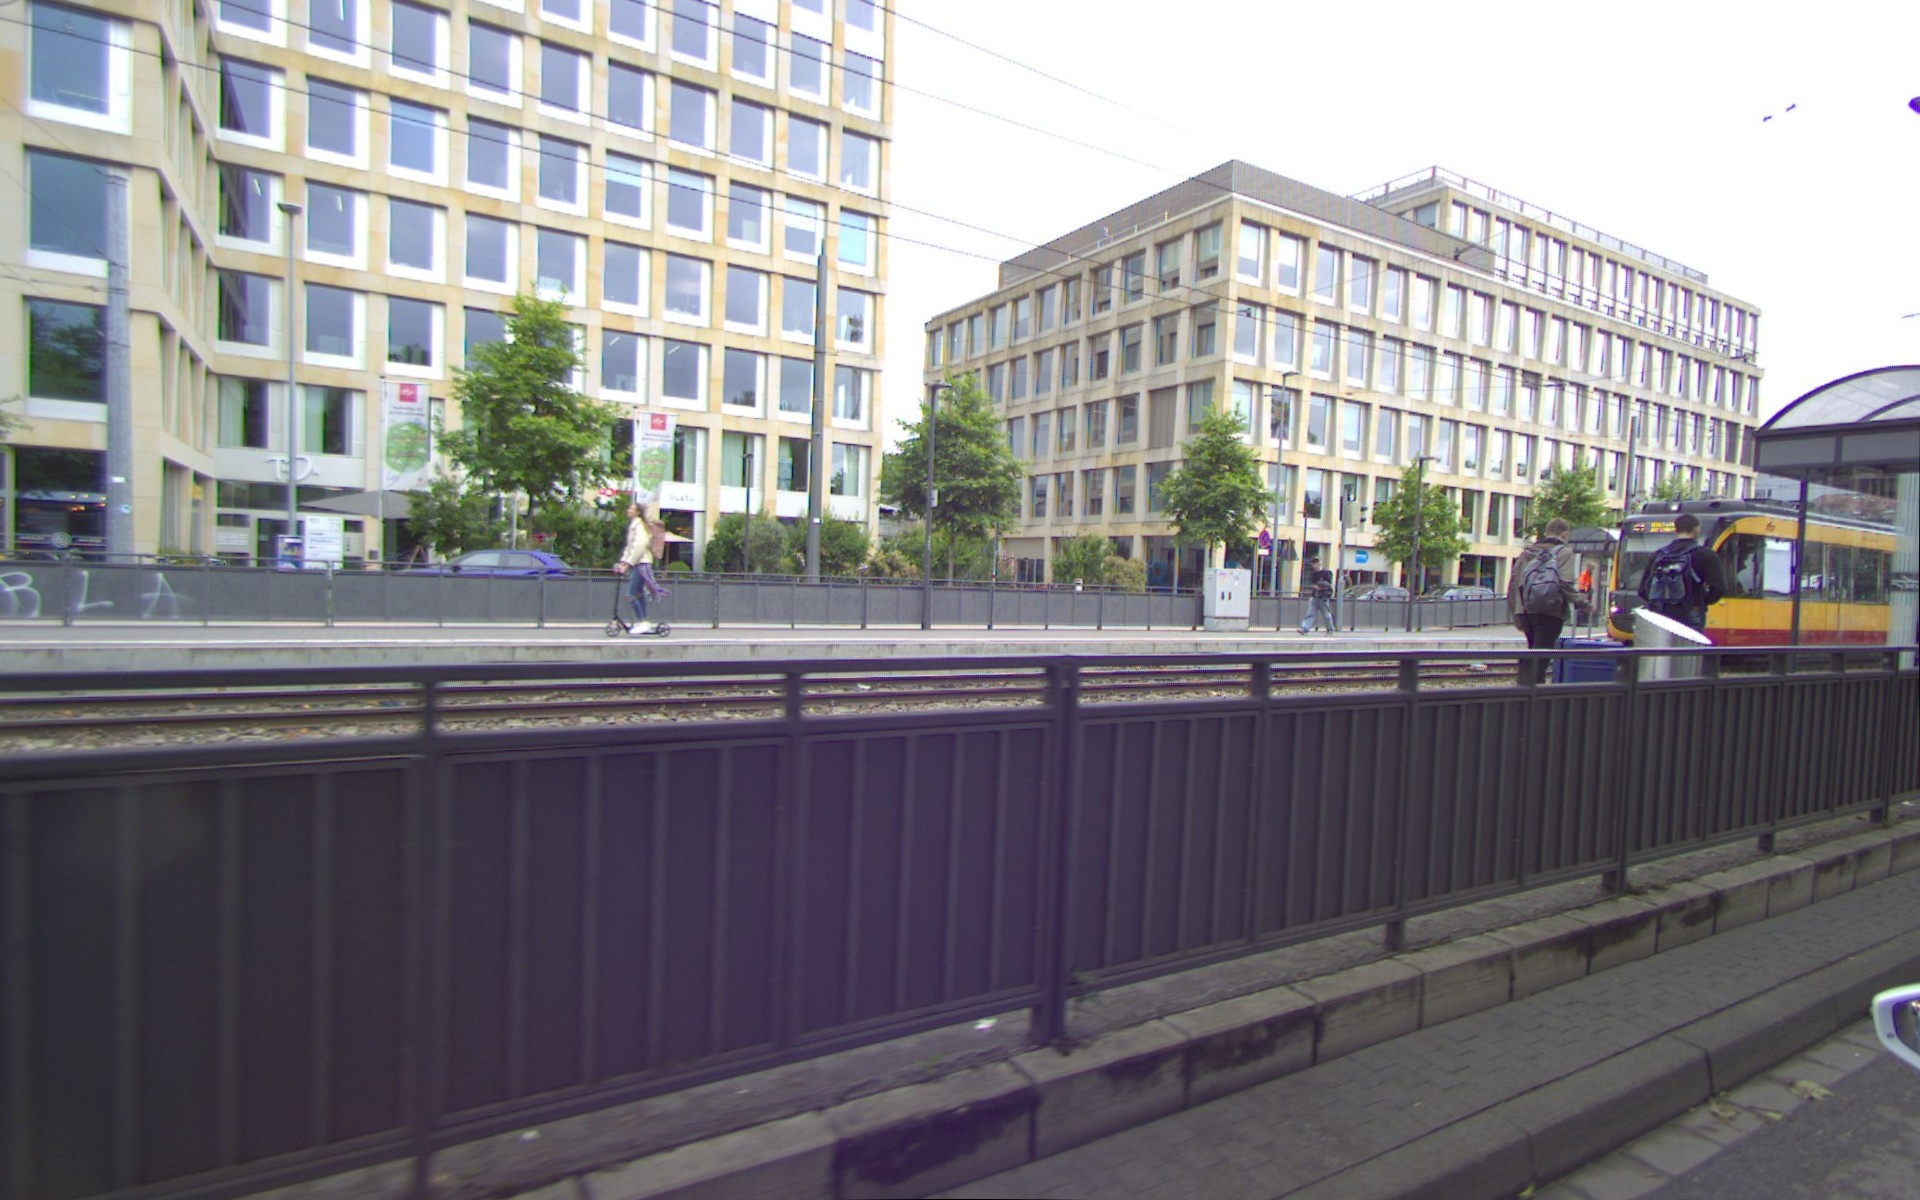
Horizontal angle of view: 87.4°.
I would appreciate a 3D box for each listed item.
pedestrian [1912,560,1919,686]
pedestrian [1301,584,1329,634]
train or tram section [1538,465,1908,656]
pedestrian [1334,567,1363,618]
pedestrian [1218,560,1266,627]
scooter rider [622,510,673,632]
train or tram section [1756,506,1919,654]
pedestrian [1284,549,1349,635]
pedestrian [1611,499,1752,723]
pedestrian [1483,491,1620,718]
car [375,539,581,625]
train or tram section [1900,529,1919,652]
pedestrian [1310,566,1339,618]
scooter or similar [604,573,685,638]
[{"bbox_3d":[14.106,0.215,13.923,0.830,2.041,1.053,2,2,-30],"label":"pedestrian"},{"bbox_3d":[14.760,0.370,41.793,0.717,2.041,0.709,2,2,-32],"label":"pedestrian"},{"bbox_3d":[19.156,-0.720,24.882,11.181,3.913,3.221,2,1,-31],"label":"train or tram section"},{"bbox_3d":[15.892,-0.294,41.084,0.717,2.041,0.709,2,2,-31],"label":"pedestrian"},{"bbox_3d":[8.867,-0.210,31.569,1.021,2.041,0.927,2,2,-32],"label":"pedestrian"},{"bbox_3d":[-4.380,-0.402,14.059,0.548,1.671,0.401,2,2,-32],"label":"scooter rider"},{"bbox_3d":[28.806,-0.423,30.692,11.181,3.913,3.147,2,1,-31],"label":"train or tram section"},{"bbox_3d":[7.786,-0.170,21.927,1.148,1.819,0.707,2,2,-32],"label":"pedestrian"},{"bbox_3d":[6.310,0.090,8.777,1.104,1.817,0.664,1,2,-40],"label":"pedestrian"},{"bbox_3d":[5.109,0.037,8.662,1.105,1.817,0.663,1,2,-44],"label":"pedestrian"},{"bbox_3d":[-10.711,-0.385,22.444,3.952,1.684,1.985,2,1,-29],"label":"car"},{"bbox_3d":[39.420,-0.086,37.080,13.464,4.235,3.164,2,1,-31],"label":"train or tram section"},{"bbox_3d":[14.611,-0.337,40.234,0.717,2.041,0.709,2,2,-31],"label":"pedestrian"},{"bbox_3d":[-4.413,0.082,14.073,0.993,0.861,0.385,2,2,-32],"label":"scooter or similar"}]
